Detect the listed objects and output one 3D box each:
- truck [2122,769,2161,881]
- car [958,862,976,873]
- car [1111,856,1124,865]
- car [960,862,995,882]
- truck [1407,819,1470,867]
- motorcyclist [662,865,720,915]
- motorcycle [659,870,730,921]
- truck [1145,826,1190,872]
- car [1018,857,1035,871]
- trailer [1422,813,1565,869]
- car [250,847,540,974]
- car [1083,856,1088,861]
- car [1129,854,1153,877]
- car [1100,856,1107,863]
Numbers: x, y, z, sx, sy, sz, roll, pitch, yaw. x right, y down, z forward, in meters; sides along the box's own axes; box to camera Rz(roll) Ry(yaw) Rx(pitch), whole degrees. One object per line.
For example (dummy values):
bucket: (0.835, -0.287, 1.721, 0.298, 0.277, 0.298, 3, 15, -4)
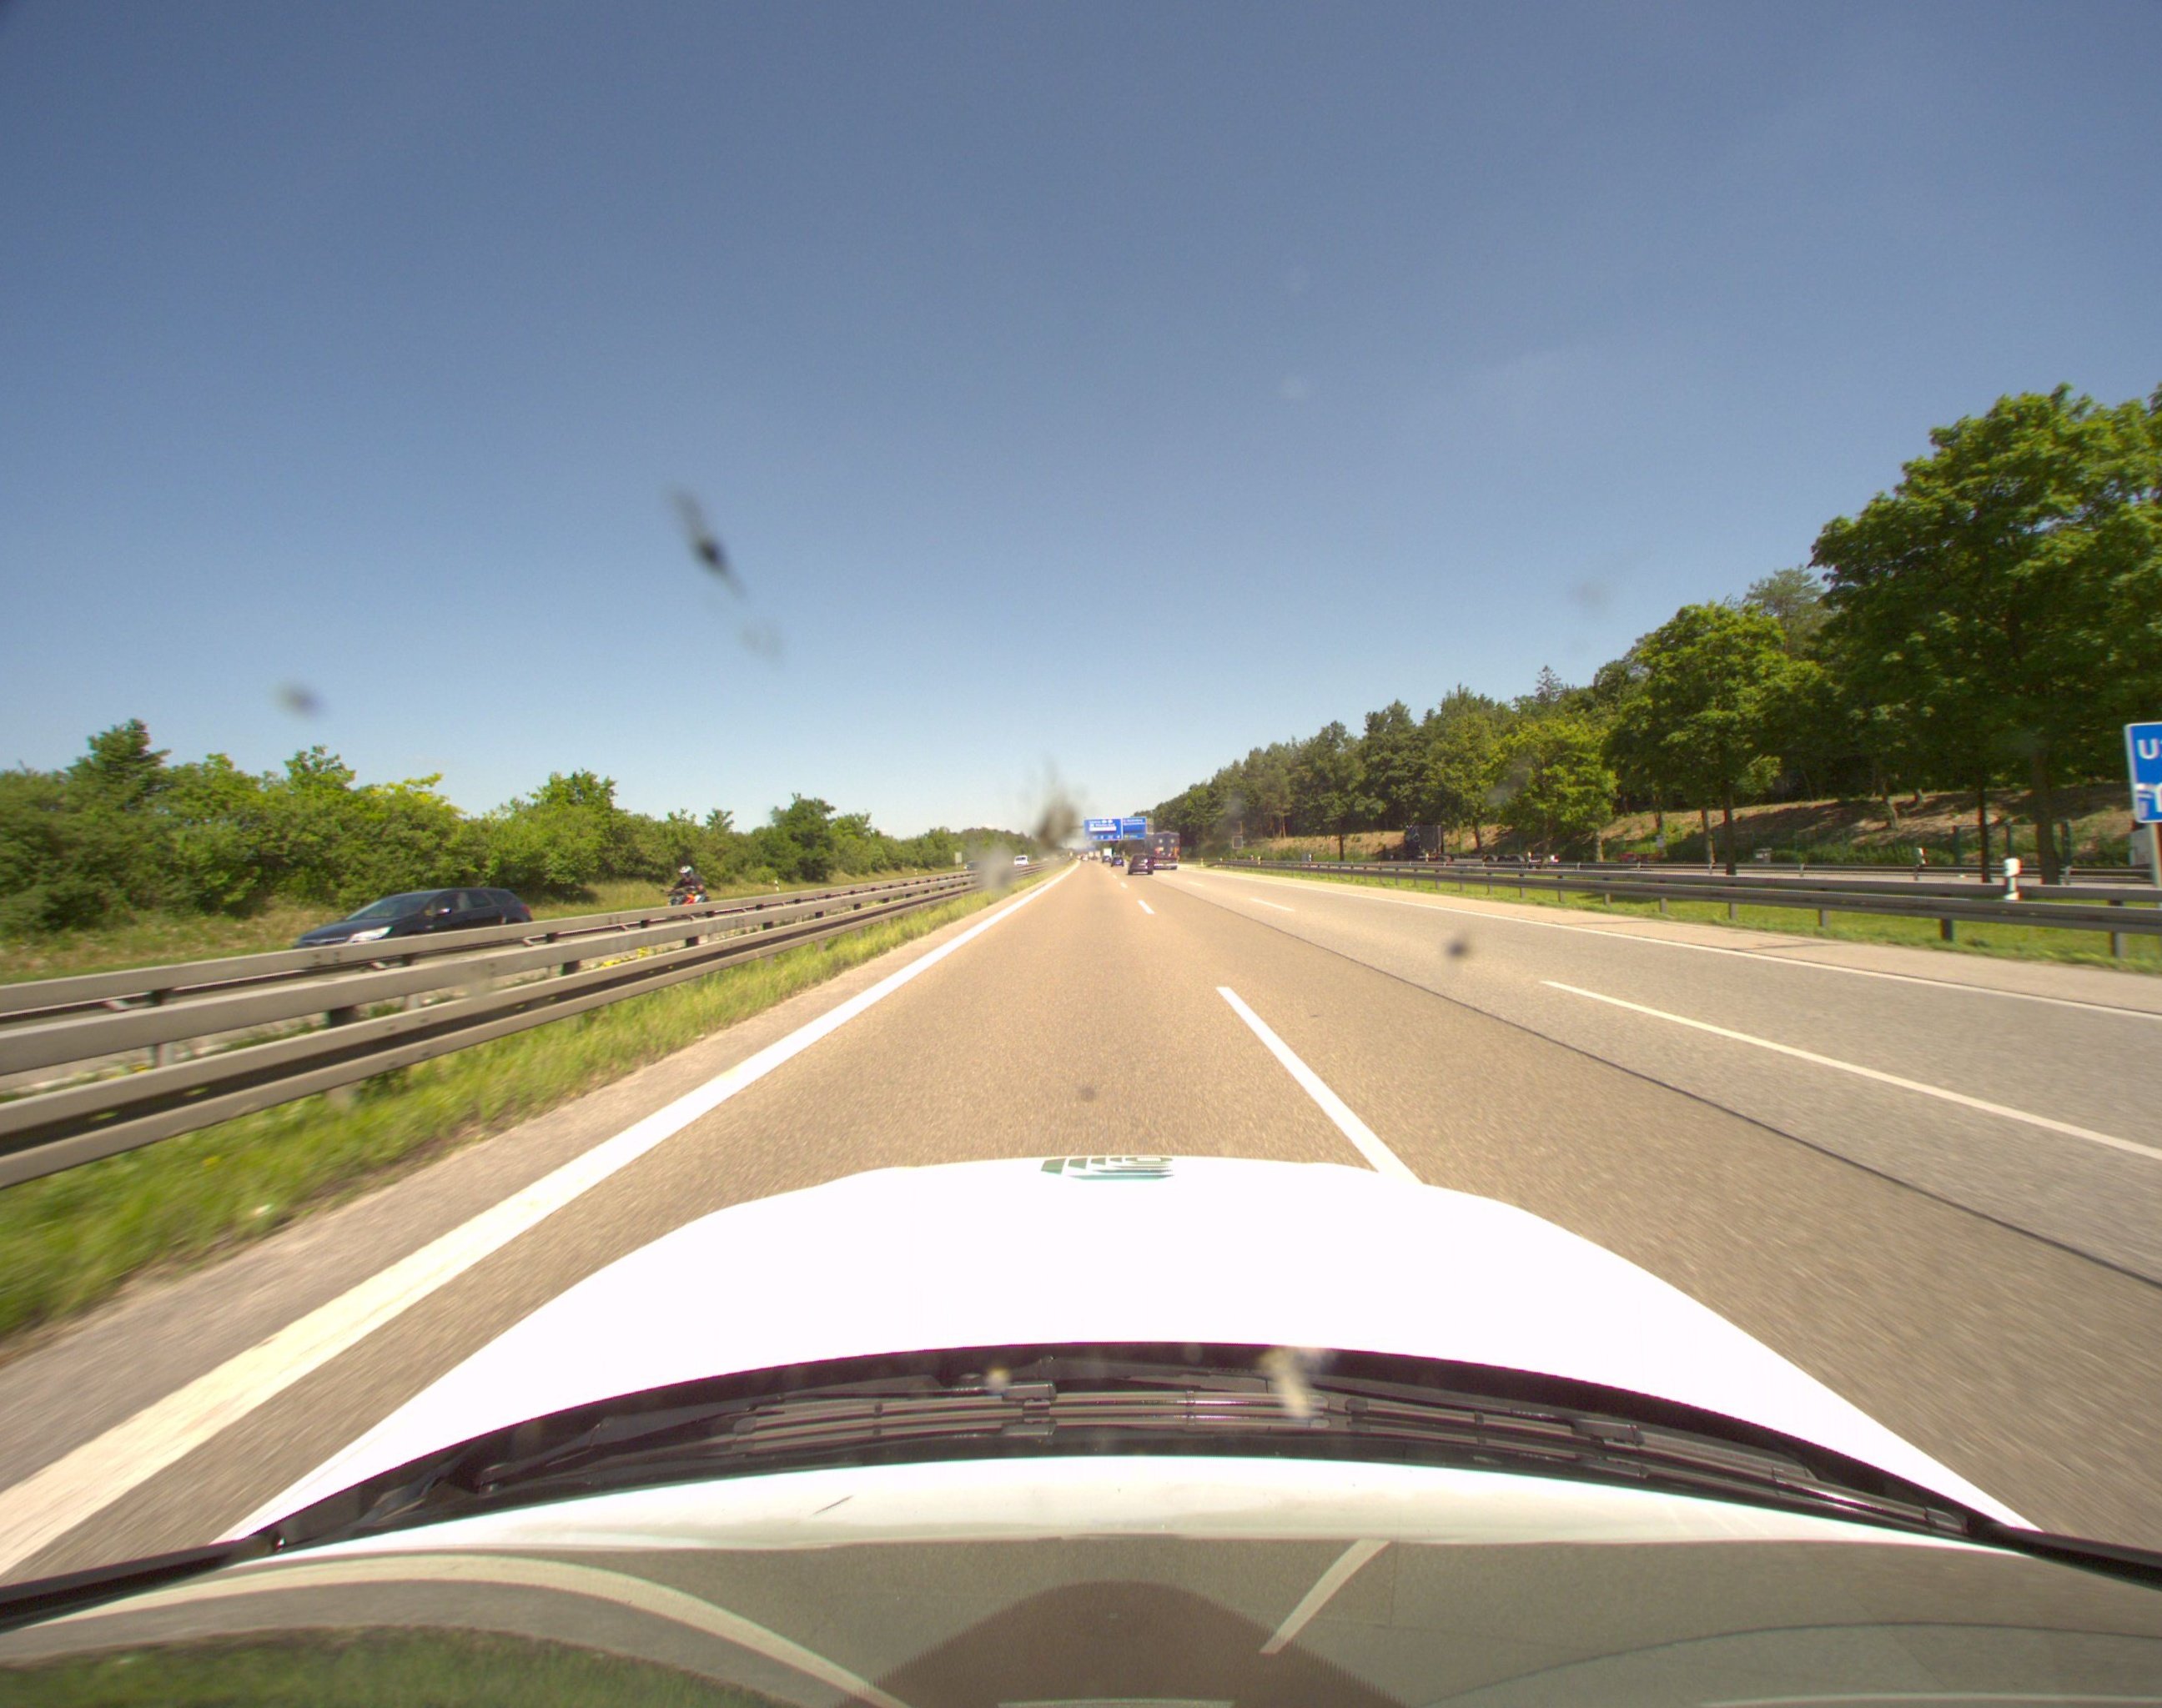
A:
truck: (38.226, -1.033, 26.173, 2.805, 3.796, 5.135, -1, 0, -6)
car: (-16.033, 1.880, 114.705, 1.781, 1.439, 4.522, -2, 0, 2)
car: (4.983, 0.914, 111.309, 1.702, 1.155, 3.691, -2, 0, 2)
car: (-8.079, 1.396, 63.914, 1.986, 1.439, 4.205, -2, 0, 2)
truck: (30.572, -0.898, 69.758, 2.573, 3.915, 4.846, -1, 0, -12)
motorcyclist: (-9.085, 0.826, 18.990, 0.872, 1.076, 0.811, -4, 0, 1)
motorcycle: (-9.091, 0.944, 19.241, 0.661, 1.076, 1.882, -4, 0, 2)
truck: (9.125, -0.479, 87.711, 3.766, 4.422, 14.056, -1, 0, 2)
car: (-7.692, 1.430, 114.930, 1.913, 1.872, 5.519, 1, 0, 1)
trailer: (31.784, -0.887, 63.750, 2.573, 3.915, 12.697, -1, 0, -12)
car: (-13.360, 0.977, 16.311, 1.986, 2.109, 4.303, -3, 0, 1)
car: (1.409, 1.359, 249.216, 1.465, 1.227, 3.412, -2, 0, 2)
car: (4.749, 0.860, 64.039, 1.791, 1.669, 4.264, -1, 0, 4)
car: (4.765, 1.086, 169.282, 1.465, 1.398, 3.412, 1, 0, 2)
